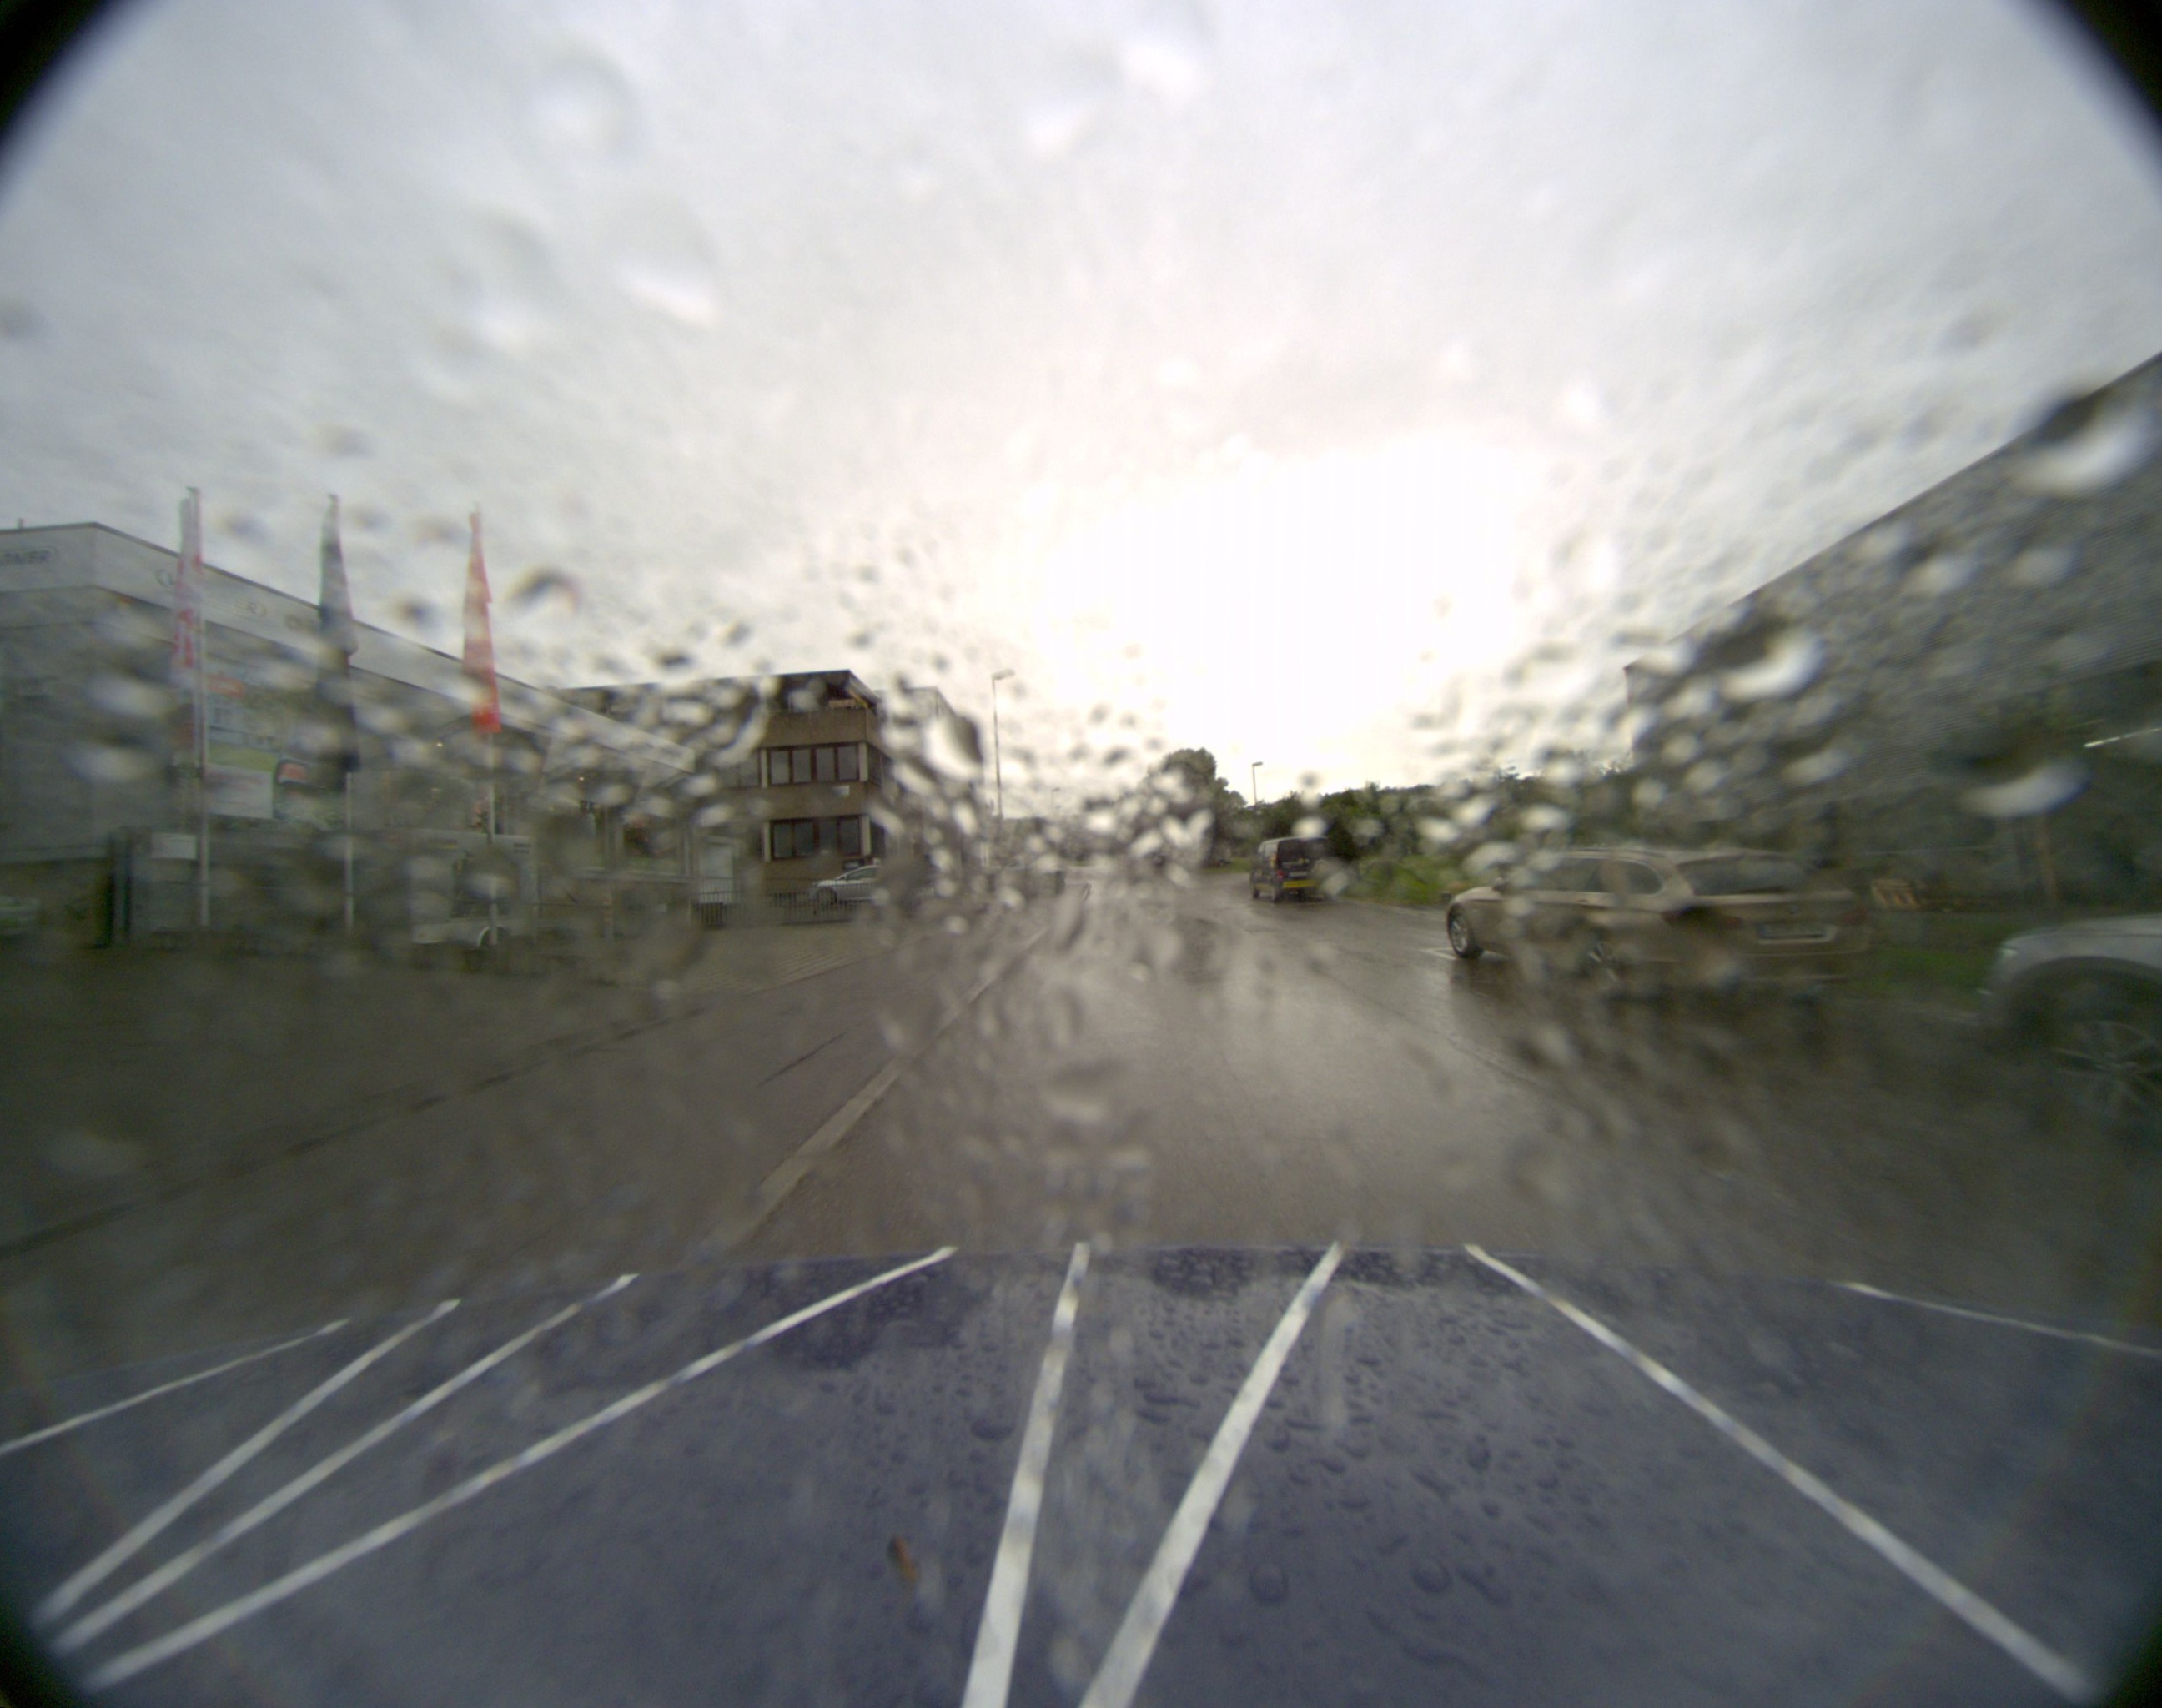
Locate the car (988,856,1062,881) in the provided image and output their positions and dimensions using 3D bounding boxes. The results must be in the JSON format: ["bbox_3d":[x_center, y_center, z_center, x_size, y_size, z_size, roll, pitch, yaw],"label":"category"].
[{"bbox_3d":[-3.570,0.915,49.176,4.608,1.529,2.079,-1,0,1],"label":"car"}]

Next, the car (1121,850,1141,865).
[{"bbox_3d":[5.381,0.365,82.527,1.752,1.500,3.934,-3,1,-1],"label":"car"}]

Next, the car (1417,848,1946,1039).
[{"bbox_3d":[5.993,0.717,8.740,1.961,1.452,5.247,-2,0,1],"label":"car"}]

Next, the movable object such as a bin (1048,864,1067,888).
[{"bbox_3d":[-1.088,1.008,35.293,0.773,1.024,0.808,-3,0,2],"label":"movable object such as a bin"}]

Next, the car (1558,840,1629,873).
[{"bbox_3d":[23.783,0.085,35.446,1.995,1.388,4.698,-2,0,25],"label":"car"}]

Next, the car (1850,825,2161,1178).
[{"bbox_3d":[5.835,0.660,2.363,1.962,1.568,4.839,-2,1,-1],"label":"car"}]

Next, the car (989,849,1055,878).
[{"bbox_3d":[-4.014,0.643,52.251,4.352,1.763,2.089,-2,0,-1],"label":"car"}]

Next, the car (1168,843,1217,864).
[{"bbox_3d":[10.402,-0.068,70.995,4.208,1.712,1.754,-3,1,-5],"label":"car"}]

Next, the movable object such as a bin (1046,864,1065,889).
[{"bbox_3d":[-1.152,1.022,34.560,0.745,1.060,0.637,-3,0,2],"label":"movable object such as a bin"}]

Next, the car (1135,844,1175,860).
[{"bbox_3d":[8.910,-0.263,91.887,4.380,1.712,2.043,-3,1,-6],"label":"car"}]

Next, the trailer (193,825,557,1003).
[{"bbox_3d":[-11.304,0.869,12.711,1.891,2.402,4.309,-2,-1,2],"label":"trailer"}]

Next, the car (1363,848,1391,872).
[{"bbox_3d":[23.796,0.520,61.148,1.996,1.742,4.392,-2,-3,20],"label":"car"}]

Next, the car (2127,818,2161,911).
[{"bbox_3d":[22.359,0.058,13.425,4.217,1.761,1.936,-3,-3,13],"label":"car"}]

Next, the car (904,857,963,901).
[{"bbox_3d":[-6.784,1.104,35.465,1.753,1.740,4.473,-2,1,1],"label":"car"}]

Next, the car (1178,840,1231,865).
[{"bbox_3d":[10.643,-0.132,65.878,4.310,1.895,1.862,-2,1,4],"label":"car"}]

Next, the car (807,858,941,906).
[{"bbox_3d":[-7.178,0.958,26.649,4.131,1.565,2.003,0,1,0],"label":"car"}]

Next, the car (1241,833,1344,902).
[{"bbox_3d":[6.341,0.353,23.375,1.920,1.820,4.848,-3,0,2],"label":"car"}]

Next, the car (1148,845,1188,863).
[{"bbox_3d":[9.558,0.000,84.130,4.084,1.712,2.025,-5,1,0],"label":"car"}]

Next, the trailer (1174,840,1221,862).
[{"bbox_3d":[11.322,-0.307,73.881,4.223,1.973,1.773,-2,1,-2],"label":"trailer"}]

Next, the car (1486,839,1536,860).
[{"bbox_3d":[47.359,-0.454,83.727,4.493,2.207,1.933,-1,0,20],"label":"car"}]

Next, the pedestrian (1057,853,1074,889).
[{"bbox_3d":[-0.806,0.871,39.036,0.738,1.757,0.808,-3,1,2],"label":"pedestrian"}]

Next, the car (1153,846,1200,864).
[{"bbox_3d":[10.216,0.112,81.225,4.630,1.581,1.805,-5,1,-2],"label":"car"}]

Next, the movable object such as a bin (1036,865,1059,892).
[{"bbox_3d":[-1.420,1.039,32.597,0.730,1.107,0.704,-3,0,17],"label":"movable object such as a bin"}]

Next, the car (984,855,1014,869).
[{"bbox_3d":[-10.373,0.989,95.595,1.861,1.576,4.314,-3,3,-35],"label":"car"}]

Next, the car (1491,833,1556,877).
[{"bbox_3d":[21.740,0.109,37.517,2.131,1.910,5.621,-4,-3,25],"label":"car"}]

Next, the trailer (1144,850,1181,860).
[{"bbox_3d":[9.276,0.111,86.777,3.952,0.955,1.999,-4,0,-4],"label":"trailer"}]
